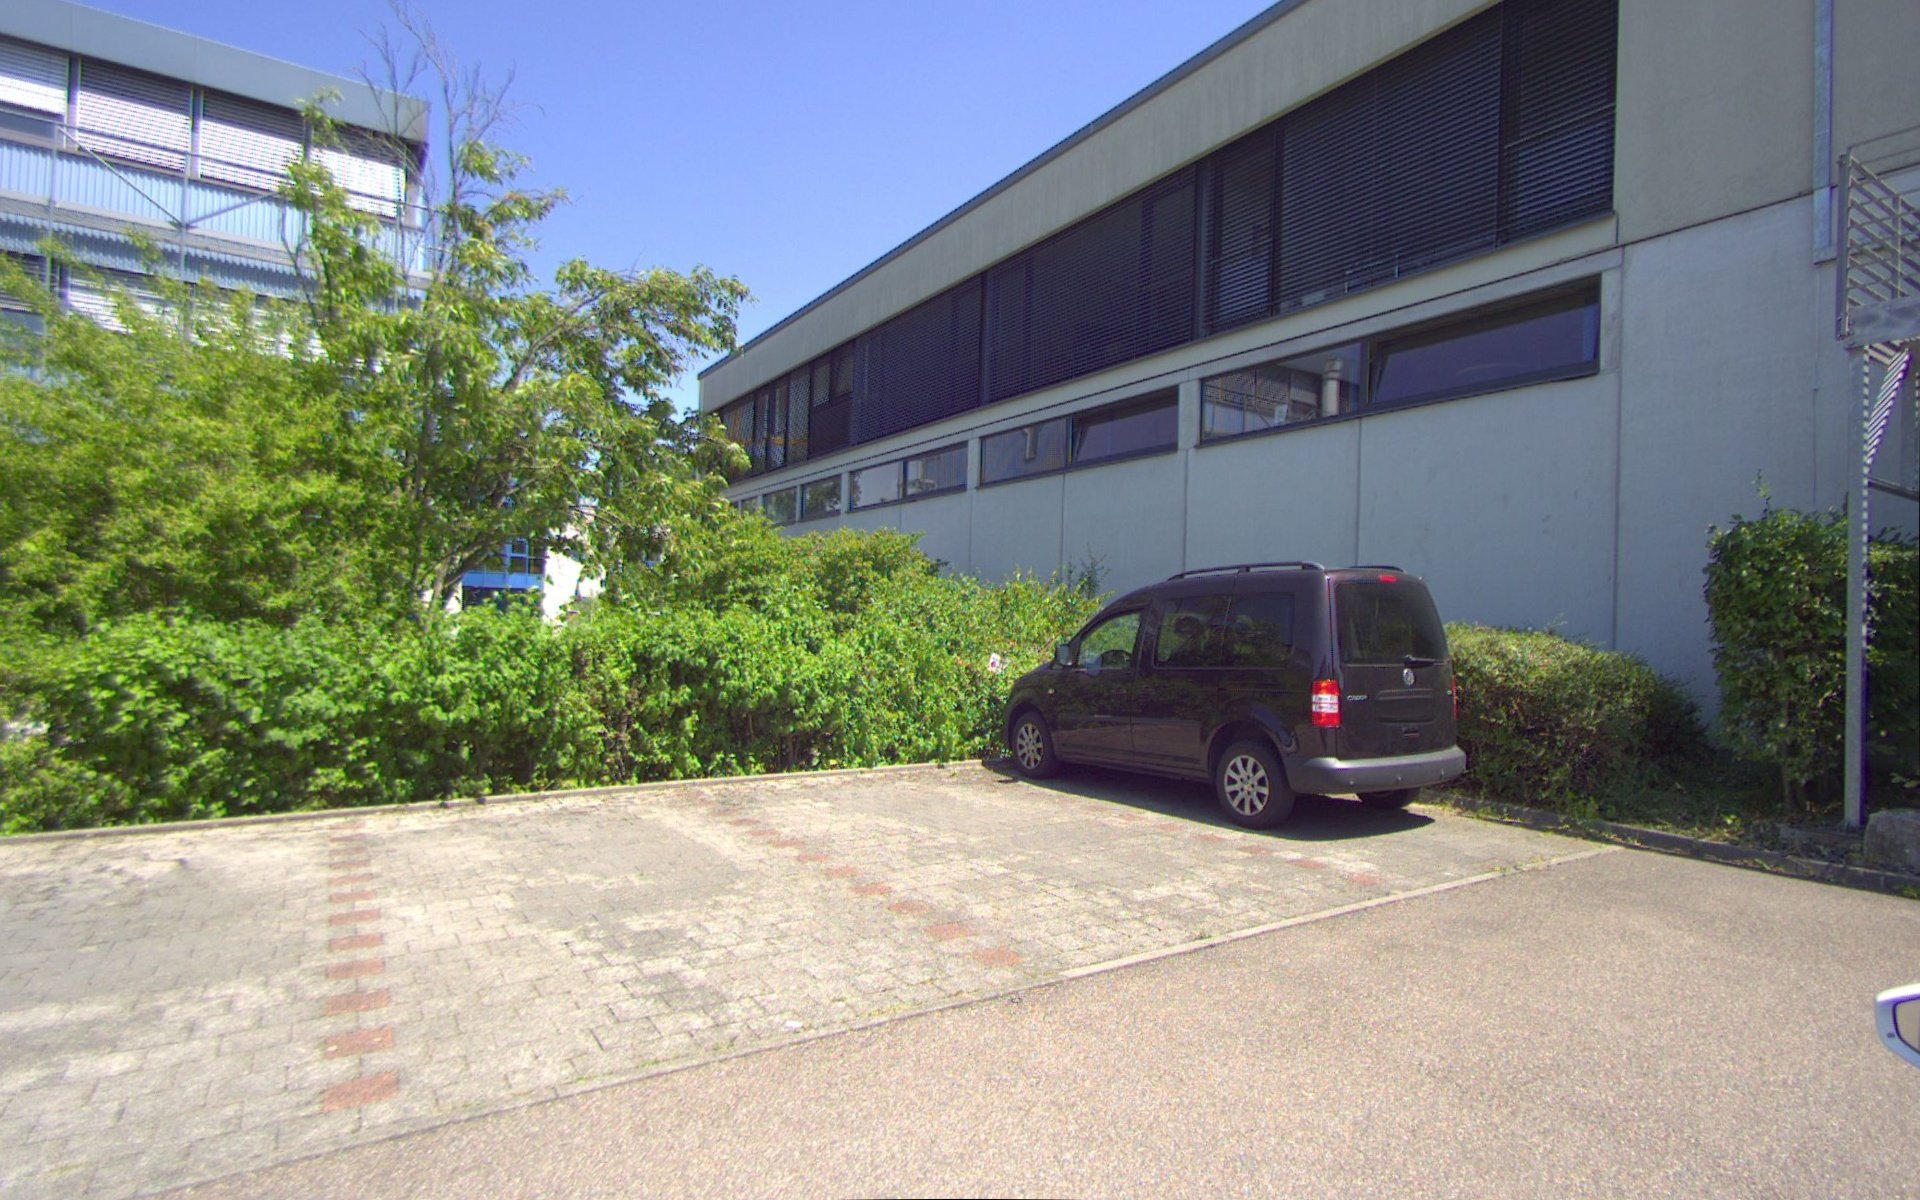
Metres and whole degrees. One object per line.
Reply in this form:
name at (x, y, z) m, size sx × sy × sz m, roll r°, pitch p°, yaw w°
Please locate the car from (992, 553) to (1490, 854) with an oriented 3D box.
car at (2.077, 0.688, 8.547) m, size 1.660 × 1.909 × 4.037 m, roll 1°, pitch -1°, yaw -31°
